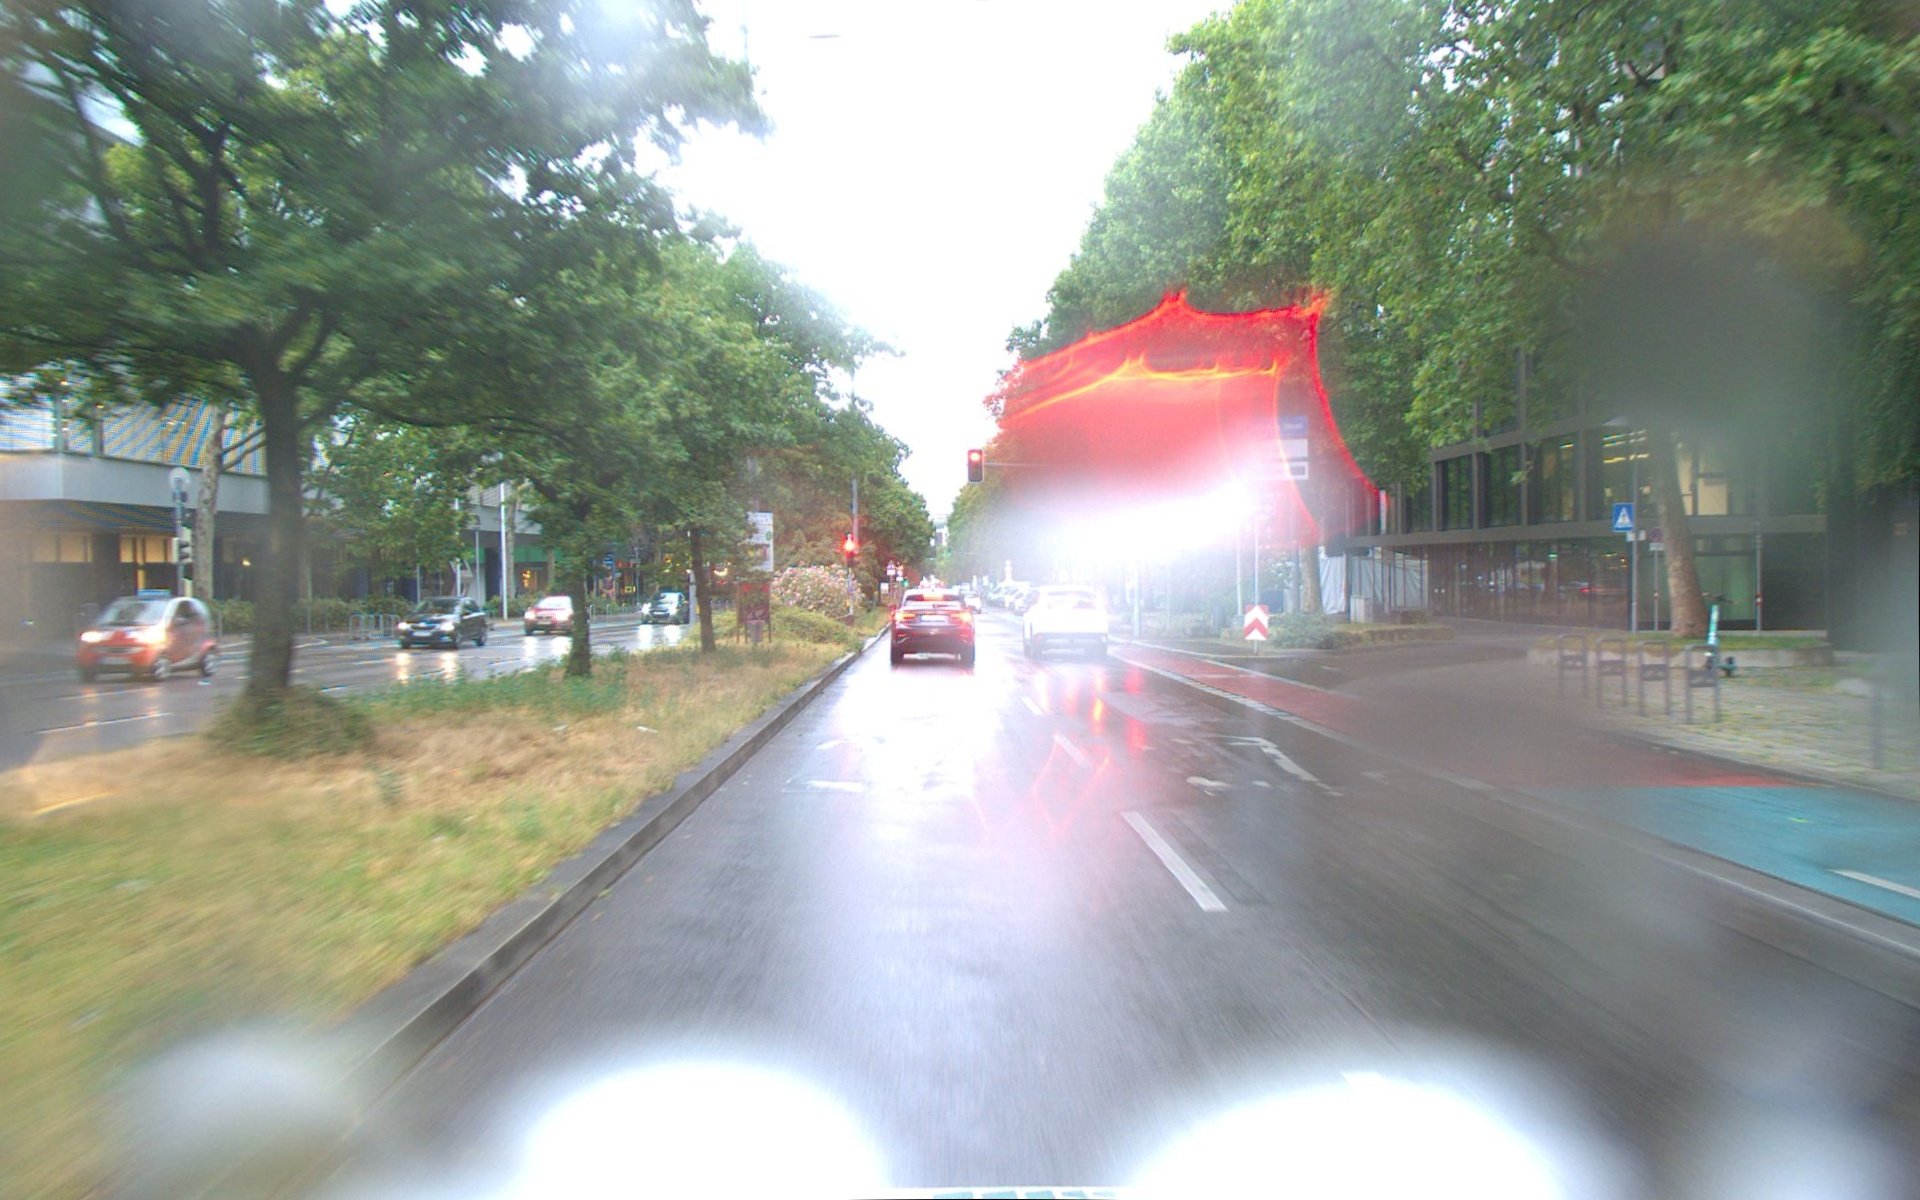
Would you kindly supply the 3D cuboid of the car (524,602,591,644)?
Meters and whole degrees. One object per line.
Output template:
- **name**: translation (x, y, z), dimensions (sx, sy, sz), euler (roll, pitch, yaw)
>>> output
- **car**: translation (-15.145, 0.832, 62.427), dimensions (1.582, 1.418, 4.183), euler (-1, 1, -1)

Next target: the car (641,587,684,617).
- **car**: translation (-15.126, 0.124, 84.170), dimensions (1.582, 1.418, 3.596), euler (0, -2, -1)

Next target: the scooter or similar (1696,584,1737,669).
- **scooter or similar**: translation (11.493, 0.390, 25.123), dimensions (0.374, 1.249, 1.075), euler (0, 1, 35)

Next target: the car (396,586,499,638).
- **car**: translation (-14.774, 0.314, 47.857), dimensions (1.806, 1.413, 3.999), euler (-1, 1, -1)

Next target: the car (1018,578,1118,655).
- **car**: translation (2.531, 0.349, 39.851), dimensions (1.953, 1.684, 4.888), euler (-1, 1, -1)

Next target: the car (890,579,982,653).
- **car**: translation (-0.546, 0.309, 36.315), dimensions (1.880, 1.517, 3.999), euler (-1, 1, -1)

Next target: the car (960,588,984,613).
- **car**: translation (0.892, 0.027, 121.088), dimensions (1.587, 1.695, 3.999), euler (-1, 1, -1)

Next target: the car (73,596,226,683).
- **car**: translation (-14.914, 0.698, 30.555), dimensions (1.463, 1.489, 2.731), euler (-1, 1, 0)
